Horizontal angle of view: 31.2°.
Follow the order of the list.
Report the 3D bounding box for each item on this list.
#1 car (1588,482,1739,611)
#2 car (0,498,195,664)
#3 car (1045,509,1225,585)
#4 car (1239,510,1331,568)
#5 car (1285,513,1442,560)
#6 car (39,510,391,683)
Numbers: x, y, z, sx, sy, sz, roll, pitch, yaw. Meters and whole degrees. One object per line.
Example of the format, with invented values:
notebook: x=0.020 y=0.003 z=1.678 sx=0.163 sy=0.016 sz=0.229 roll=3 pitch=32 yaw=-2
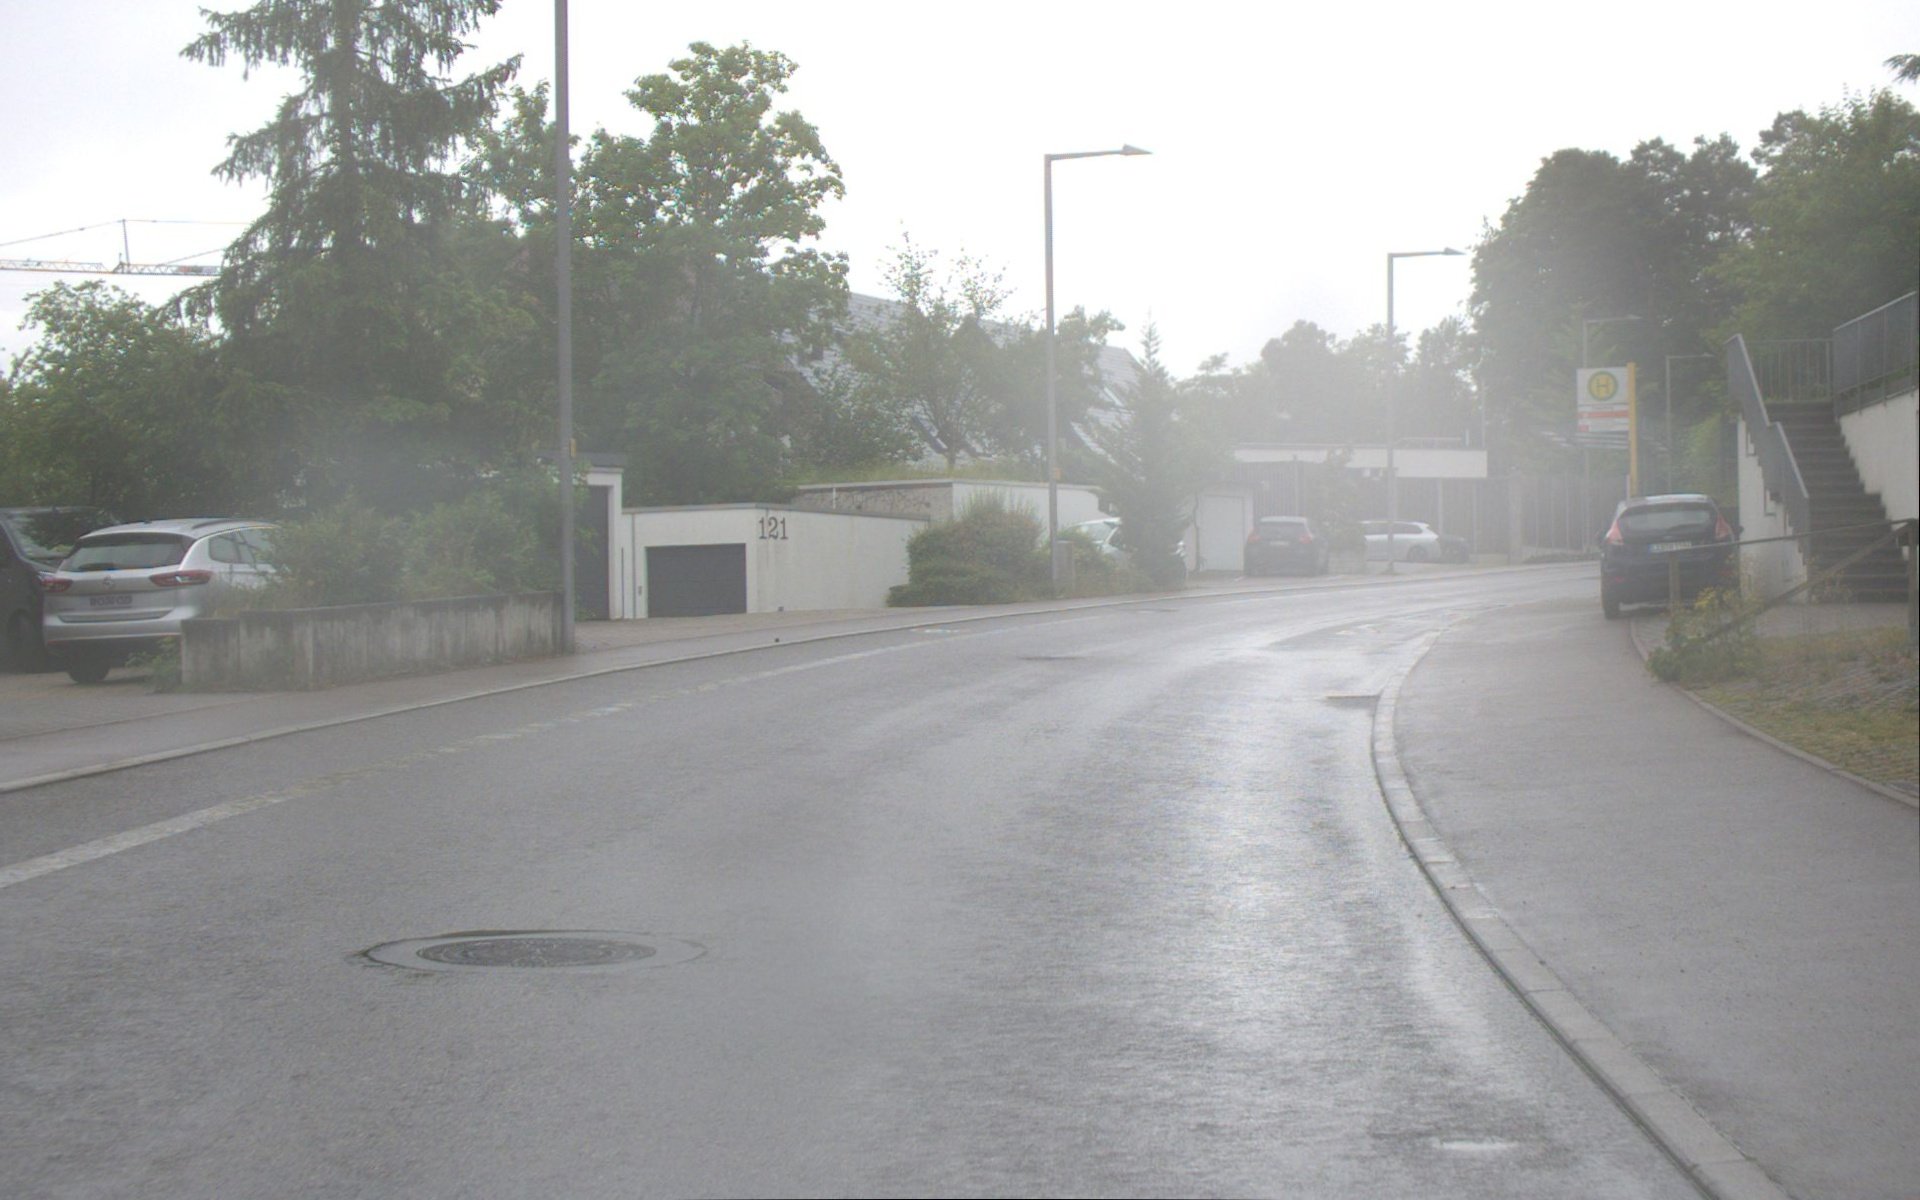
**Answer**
car: x=8.909 y=-0.689 z=43.574 sx=1.706 sy=1.449 sz=4.019 roll=-4 pitch=1 yaw=11
car: x=-10.974 y=-0.224 z=40.150 sx=3.996 sy=1.831 sz=1.995 roll=0 pitch=1 yaw=42
car: x=3.709 y=-1.129 z=72.149 sx=1.708 sy=1.548 sz=4.380 roll=0 pitch=2 yaw=35
car: x=8.081 y=-1.527 z=85.145 sx=1.834 sy=1.401 sz=4.258 roll=0 pitch=2 yaw=11
car: x=12.531 y=-1.982 z=106.808 sx=4.517 sy=1.437 sz=1.762 roll=0 pitch=1 yaw=-18
car: x=-7.112 y=-0.067 z=33.232 sx=1.735 sy=1.546 sz=3.998 roll=-1 pitch=1 yaw=13
